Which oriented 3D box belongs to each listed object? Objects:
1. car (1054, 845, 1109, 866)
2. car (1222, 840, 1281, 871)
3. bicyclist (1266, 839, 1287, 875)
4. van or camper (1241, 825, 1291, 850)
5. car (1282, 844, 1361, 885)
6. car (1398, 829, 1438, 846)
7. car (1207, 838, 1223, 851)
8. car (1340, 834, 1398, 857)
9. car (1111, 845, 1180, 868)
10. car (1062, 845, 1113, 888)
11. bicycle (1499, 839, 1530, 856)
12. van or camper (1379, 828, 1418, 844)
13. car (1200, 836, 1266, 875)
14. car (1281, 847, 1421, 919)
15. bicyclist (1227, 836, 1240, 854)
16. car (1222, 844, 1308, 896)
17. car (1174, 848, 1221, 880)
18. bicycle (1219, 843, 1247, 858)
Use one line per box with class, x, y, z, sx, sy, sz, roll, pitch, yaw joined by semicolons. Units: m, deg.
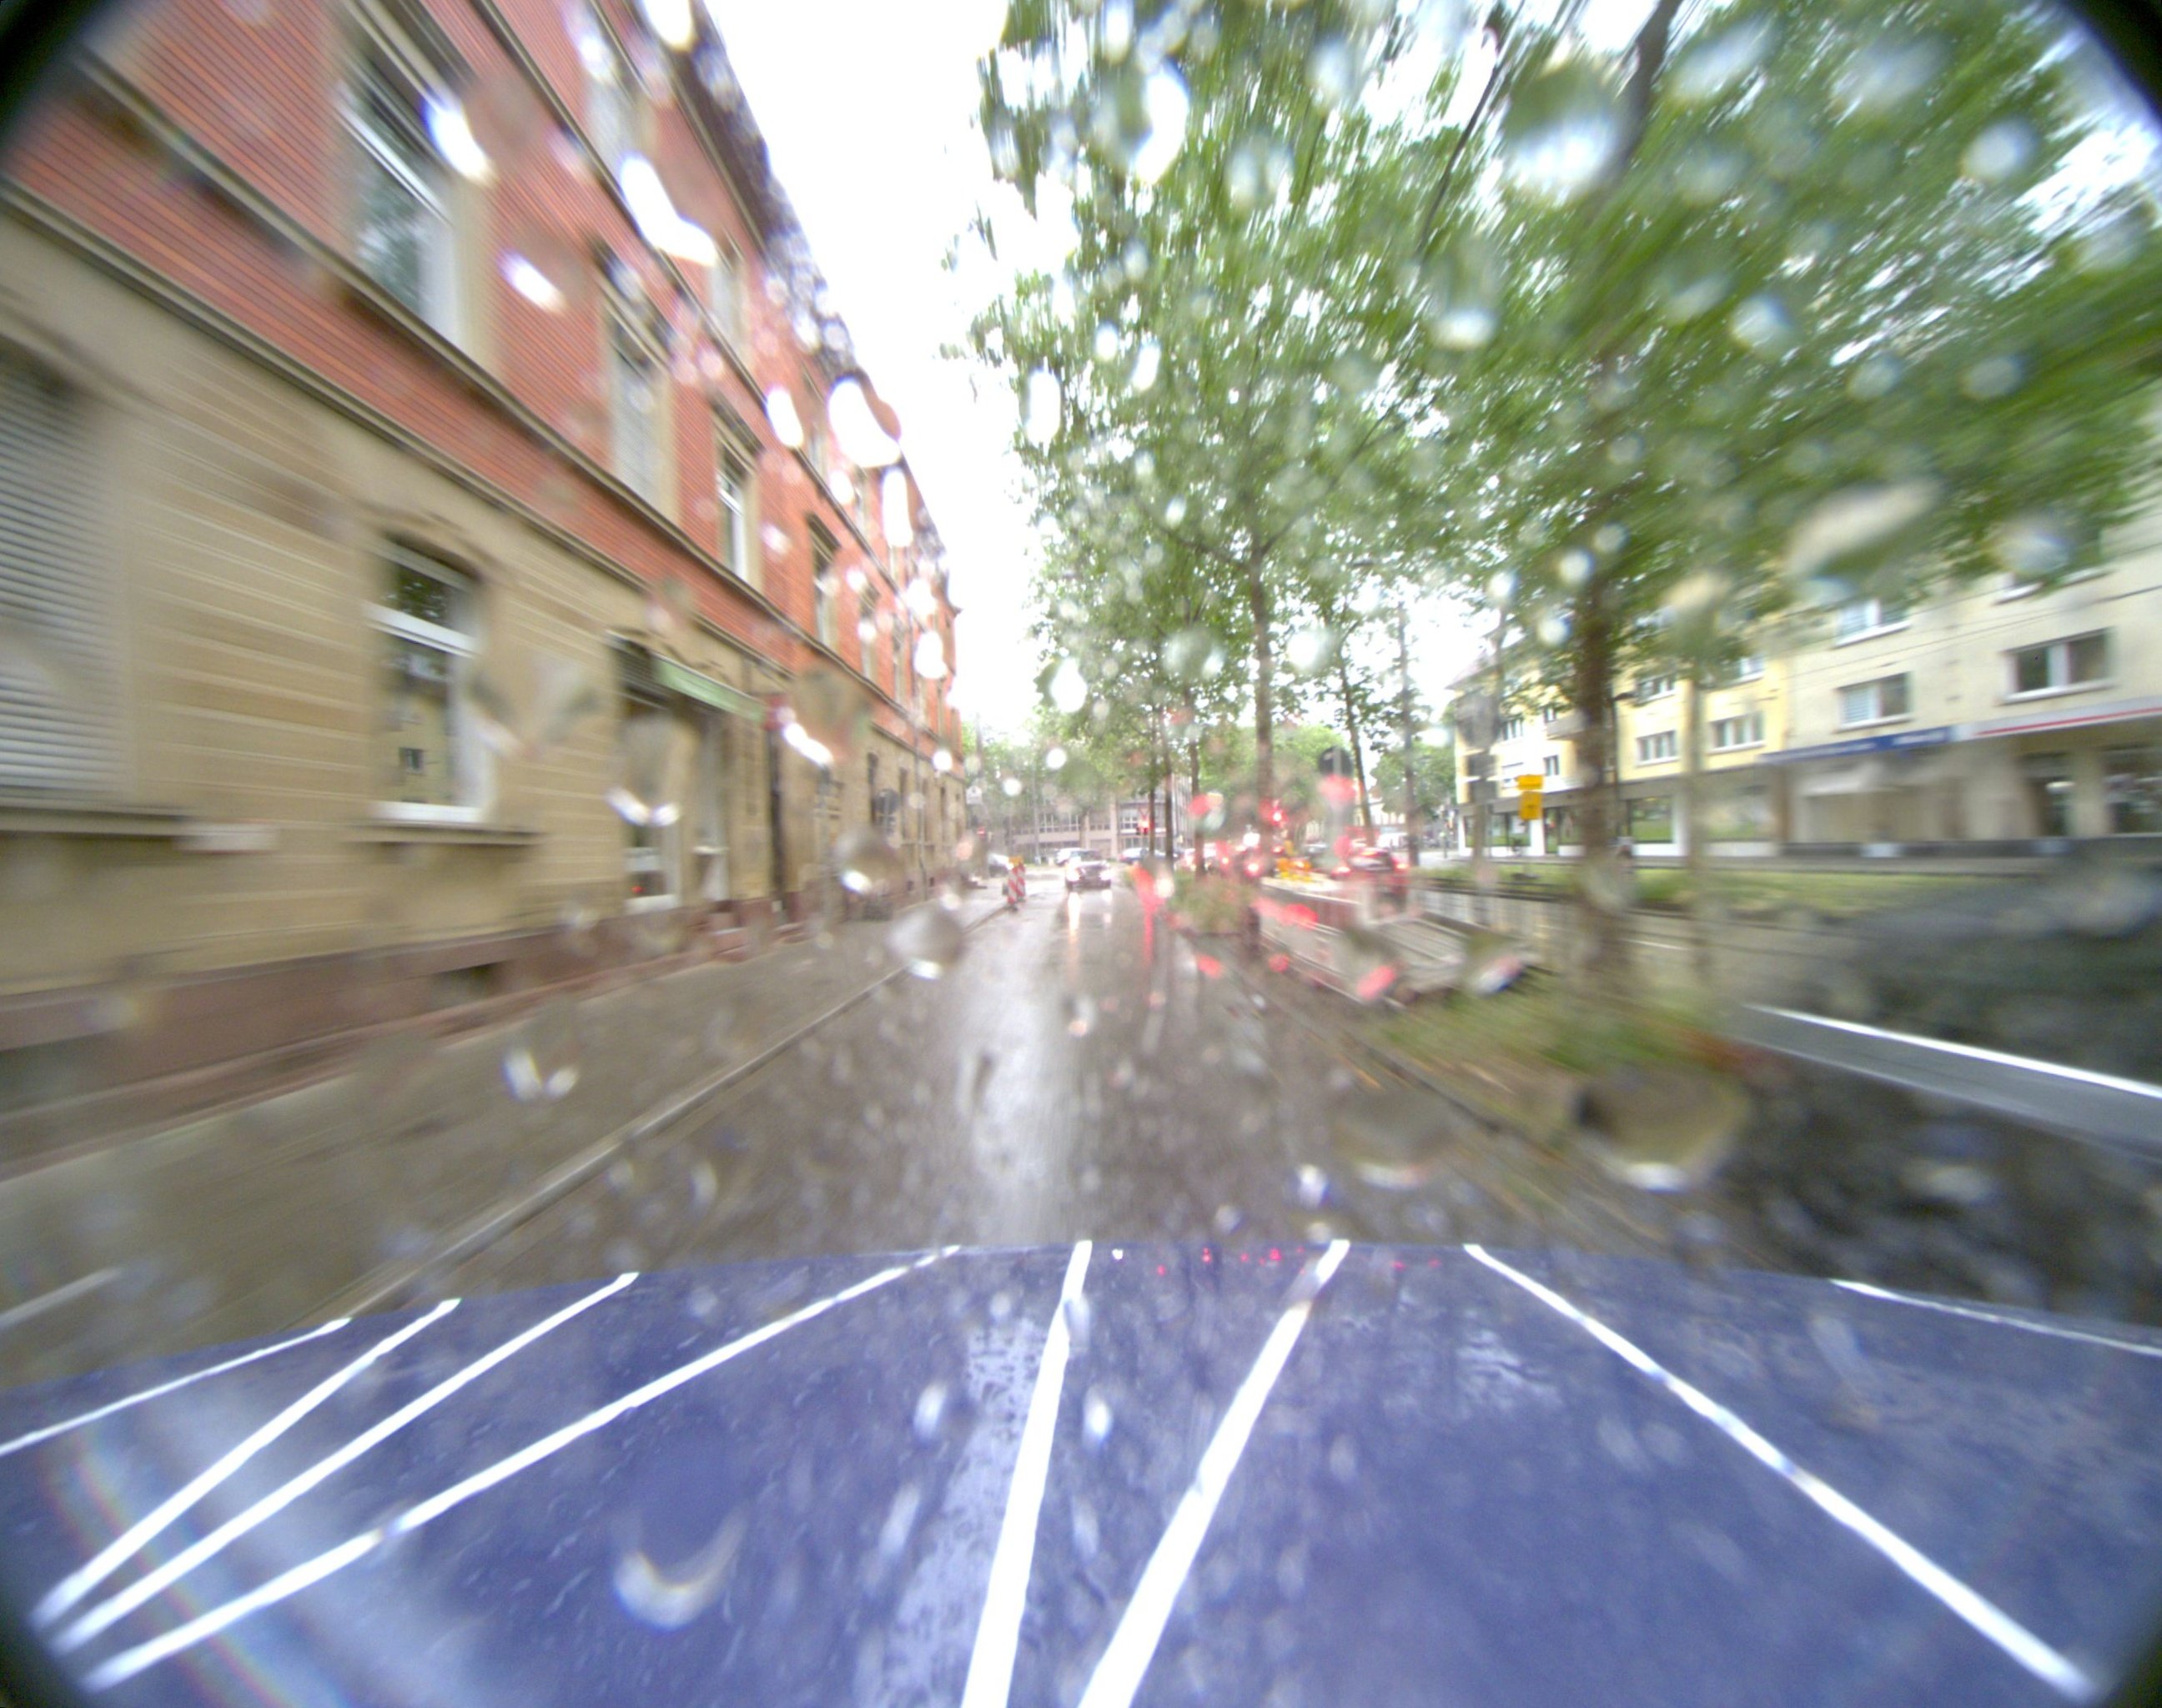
car;0.059;0.102;69.283;4.562;1.650;1.783;-4;2;-26
car;9.086;0.057;40.915;1.879;1.493;4.282;-3;0;-4
bicyclist;9.467;0.134;36.889;0.714;1.706;0.889;-3;2;-3
van or camper;20.245;-1.786;82.888;5.981;2.457;2.176;-4;2;-41
car;9.235;0.357;29.475;1.745;1.389;4.130;-3;0;1
car;43.516;-2.124;98.227;4.389;2.002;2.069;-2;2;17
car;19.449;-1.393;109.789;2.001;1.762;4.003;-2;1;13
car;25.133;-0.757;66.479;4.265;1.732;1.975;-3;2;-5
car;5.429;0.208;64.183;5.337;1.583;1.947;-3;1;-11
car;0.222;0.513;34.198;1.913;1.637;4.677;-3;2;-3
bicycle;24.866;-0.378;43.645;0.613;0.891;2.046;-2;1;1
van or camper;44.431;-2.507;106.329;4.647;2.063;2.001;-1;2;10
car;6.442;0.050;32.770;1.861;1.476;4.639;-3;0;0
car;6.105;0.589;17.738;1.745;1.389;4.233;-3;0;1
bicyclist;12.639;-0.741;62.889;0.805;1.462;0.927;-1;3;-8
car;5.969;0.468;25.169;1.745;1.471;4.431;-3;0;1
car;6.008;0.477;39.655;1.739;1.480;4.500;-3;0;1
bicycle;12.562;-0.295;62.881;1.998;1.082;0.819;-5;0;-7
